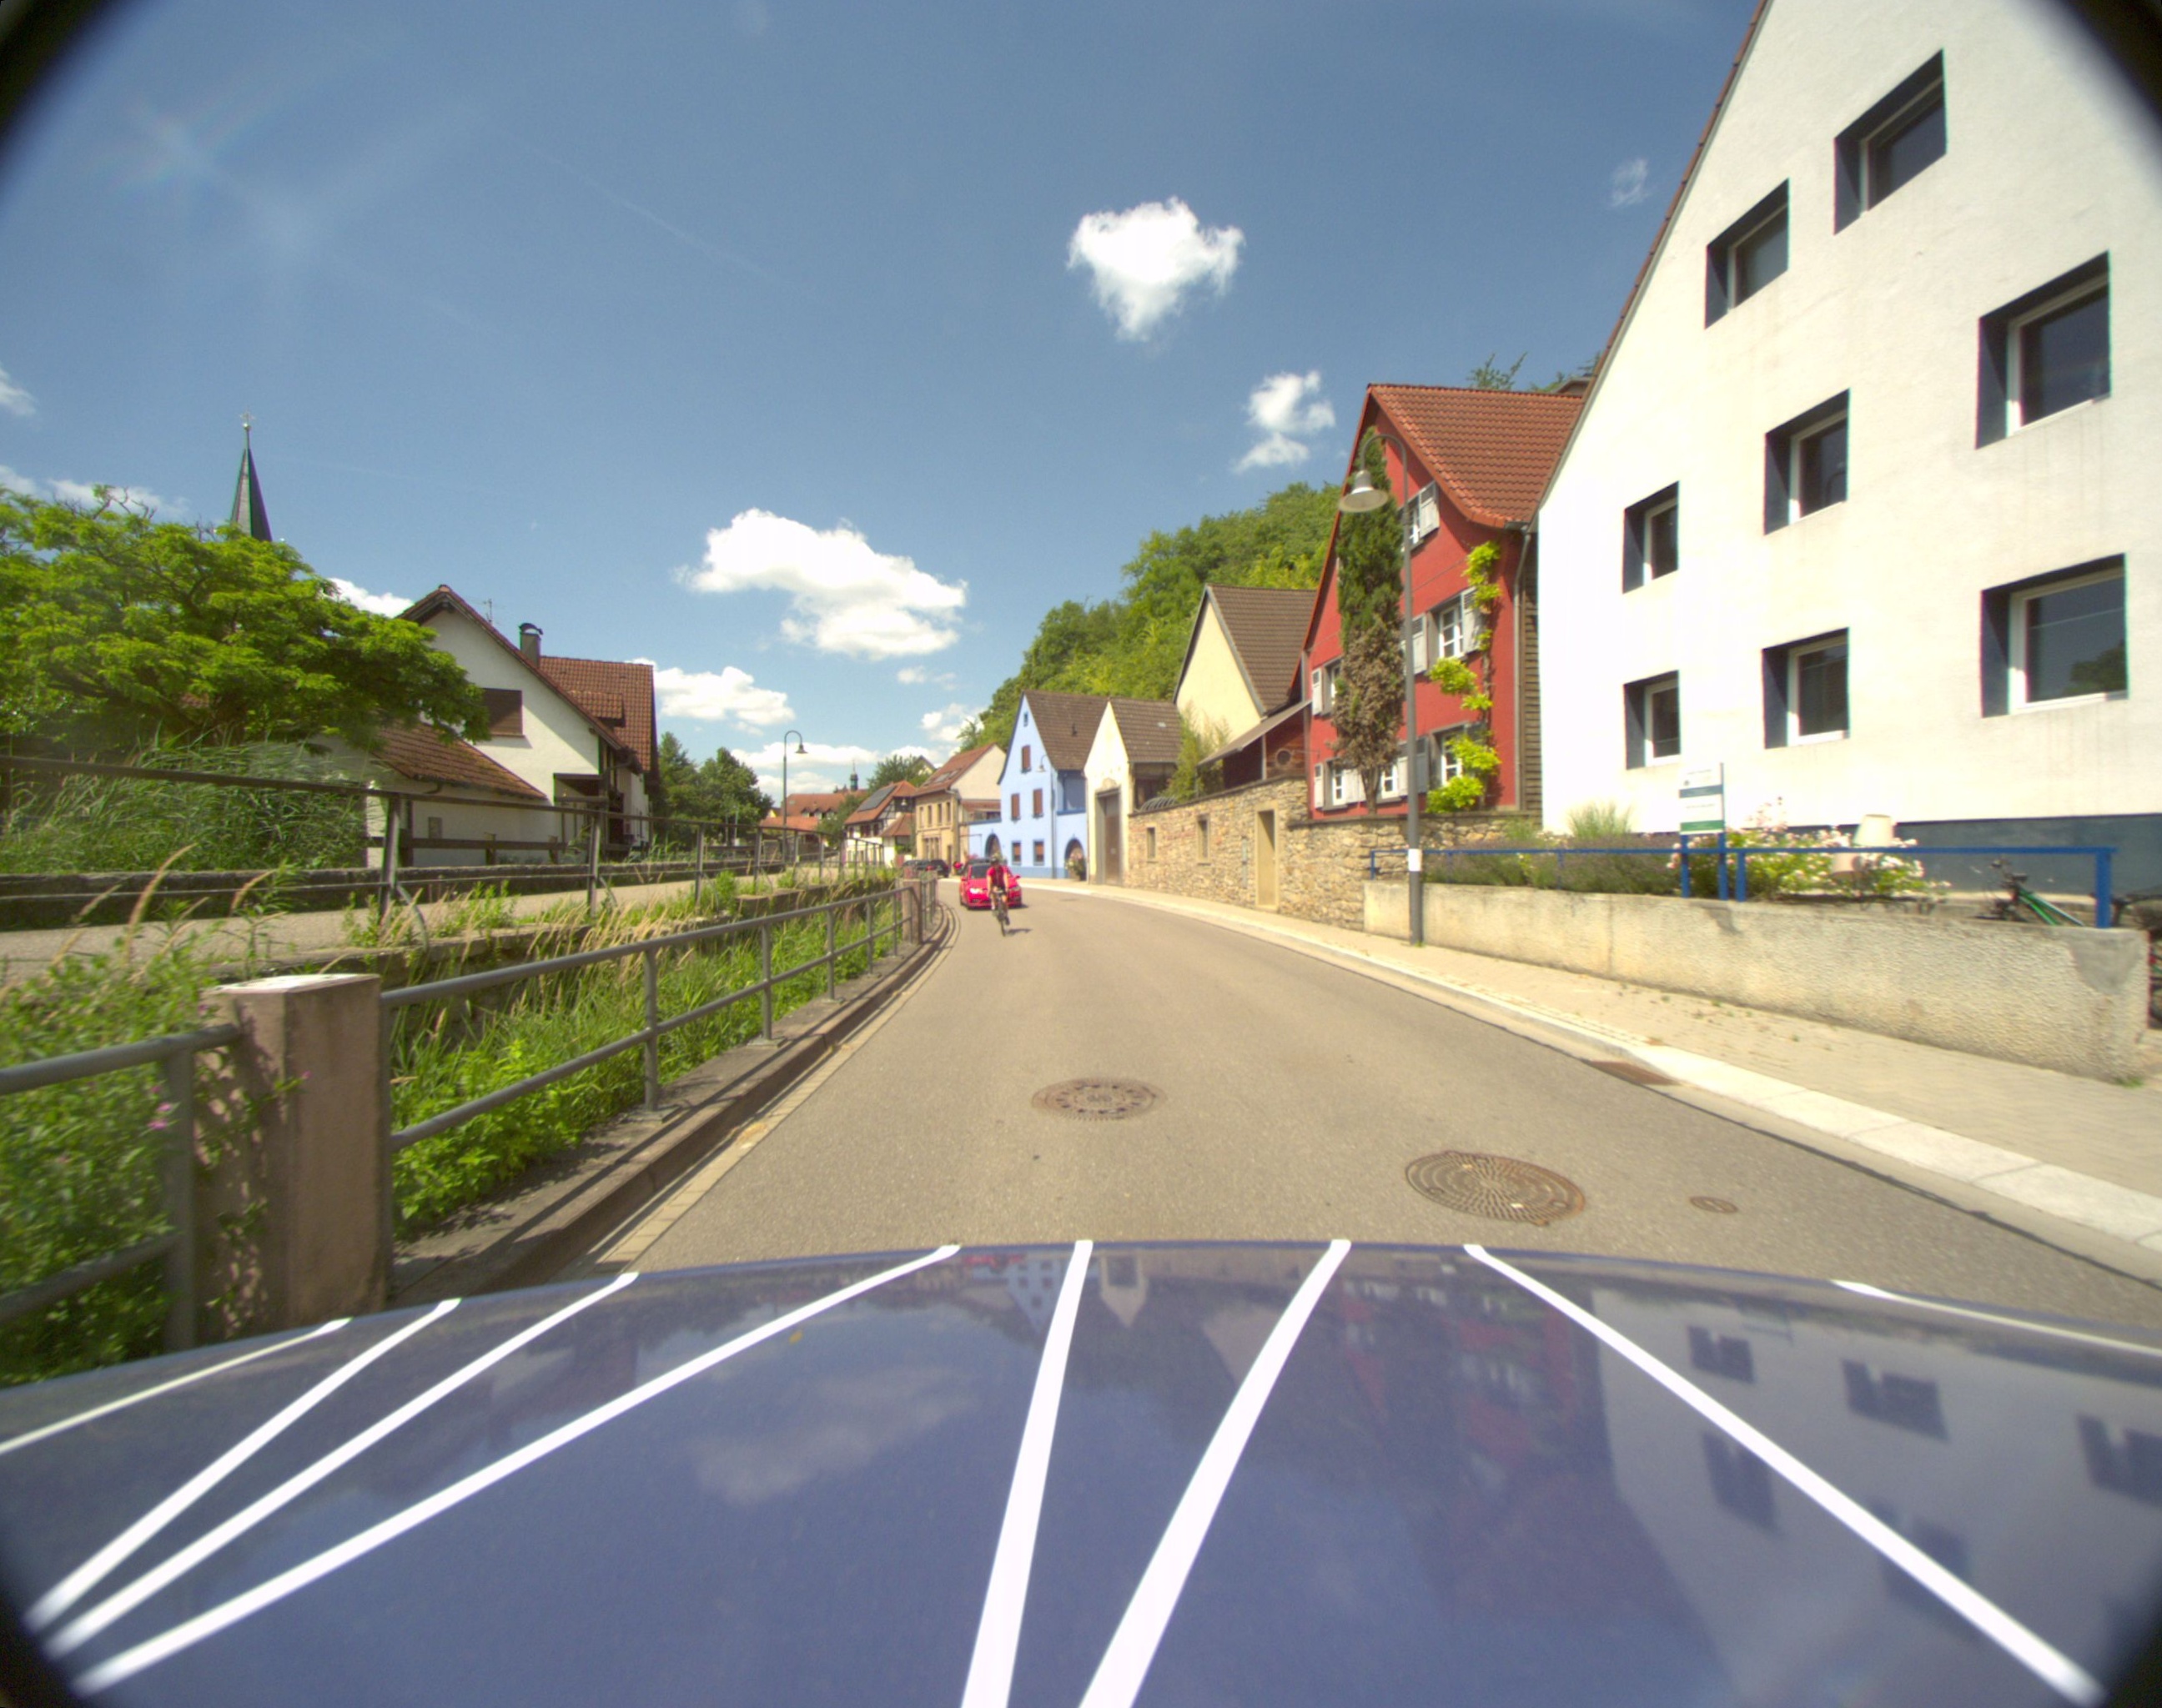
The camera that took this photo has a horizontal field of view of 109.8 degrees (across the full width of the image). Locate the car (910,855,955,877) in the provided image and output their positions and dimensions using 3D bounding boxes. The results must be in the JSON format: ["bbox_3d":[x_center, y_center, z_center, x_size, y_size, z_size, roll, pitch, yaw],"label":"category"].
[{"bbox_3d":[-10.894,0.870,55.569,1.893,1.456,4.658,-5,1,-27],"label":"car"}]

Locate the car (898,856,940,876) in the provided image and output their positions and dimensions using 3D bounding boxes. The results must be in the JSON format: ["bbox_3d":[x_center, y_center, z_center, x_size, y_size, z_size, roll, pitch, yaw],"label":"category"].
[{"bbox_3d":[-12.810,0.919,60.016,1.966,1.457,4.534,-2,2,-29],"label":"car"}]

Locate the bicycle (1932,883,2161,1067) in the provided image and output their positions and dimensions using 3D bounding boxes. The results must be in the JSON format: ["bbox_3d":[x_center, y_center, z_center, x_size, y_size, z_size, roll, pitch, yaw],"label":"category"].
[{"bbox_3d":[6.658,0.750,4.932,0.509,0.967,1.539,-7,2,2],"label":"bicycle"}]

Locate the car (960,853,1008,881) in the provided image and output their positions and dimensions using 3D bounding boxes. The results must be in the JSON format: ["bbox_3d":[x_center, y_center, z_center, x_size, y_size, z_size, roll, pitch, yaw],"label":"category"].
[{"bbox_3d":[-5.953,0.772,46.394,1.724,1.521,3.848,-4,2,-25],"label":"car"}]

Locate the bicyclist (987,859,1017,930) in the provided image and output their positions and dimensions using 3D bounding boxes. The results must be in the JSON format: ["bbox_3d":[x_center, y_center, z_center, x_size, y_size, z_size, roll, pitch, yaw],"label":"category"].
[{"bbox_3d":[-1.602,0.809,15.501,0.532,1.396,0.755,-2,1,-5],"label":"bicyclist"}]

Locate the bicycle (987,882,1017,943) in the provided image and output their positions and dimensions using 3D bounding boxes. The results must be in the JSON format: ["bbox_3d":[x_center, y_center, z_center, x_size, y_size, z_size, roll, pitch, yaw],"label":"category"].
[{"bbox_3d":[-1.597,1.156,15.579,0.531,1.070,2.053,-2,0,-5],"label":"bicycle"}]

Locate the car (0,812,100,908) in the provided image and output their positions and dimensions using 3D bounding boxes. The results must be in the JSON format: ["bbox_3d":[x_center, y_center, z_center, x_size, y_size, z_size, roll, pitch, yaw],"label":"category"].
[{"bbox_3d":[-18.743,0.135,12.458,3.510,1.517,1.759,-1,0,9],"label":"car"}]

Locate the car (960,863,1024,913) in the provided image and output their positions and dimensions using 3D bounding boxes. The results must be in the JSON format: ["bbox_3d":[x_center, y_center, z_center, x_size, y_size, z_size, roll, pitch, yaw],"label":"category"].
[{"bbox_3d":[-2.904,1.025,24.289,1.671,1.344,3.490,-2,1,-12],"label":"car"}]
